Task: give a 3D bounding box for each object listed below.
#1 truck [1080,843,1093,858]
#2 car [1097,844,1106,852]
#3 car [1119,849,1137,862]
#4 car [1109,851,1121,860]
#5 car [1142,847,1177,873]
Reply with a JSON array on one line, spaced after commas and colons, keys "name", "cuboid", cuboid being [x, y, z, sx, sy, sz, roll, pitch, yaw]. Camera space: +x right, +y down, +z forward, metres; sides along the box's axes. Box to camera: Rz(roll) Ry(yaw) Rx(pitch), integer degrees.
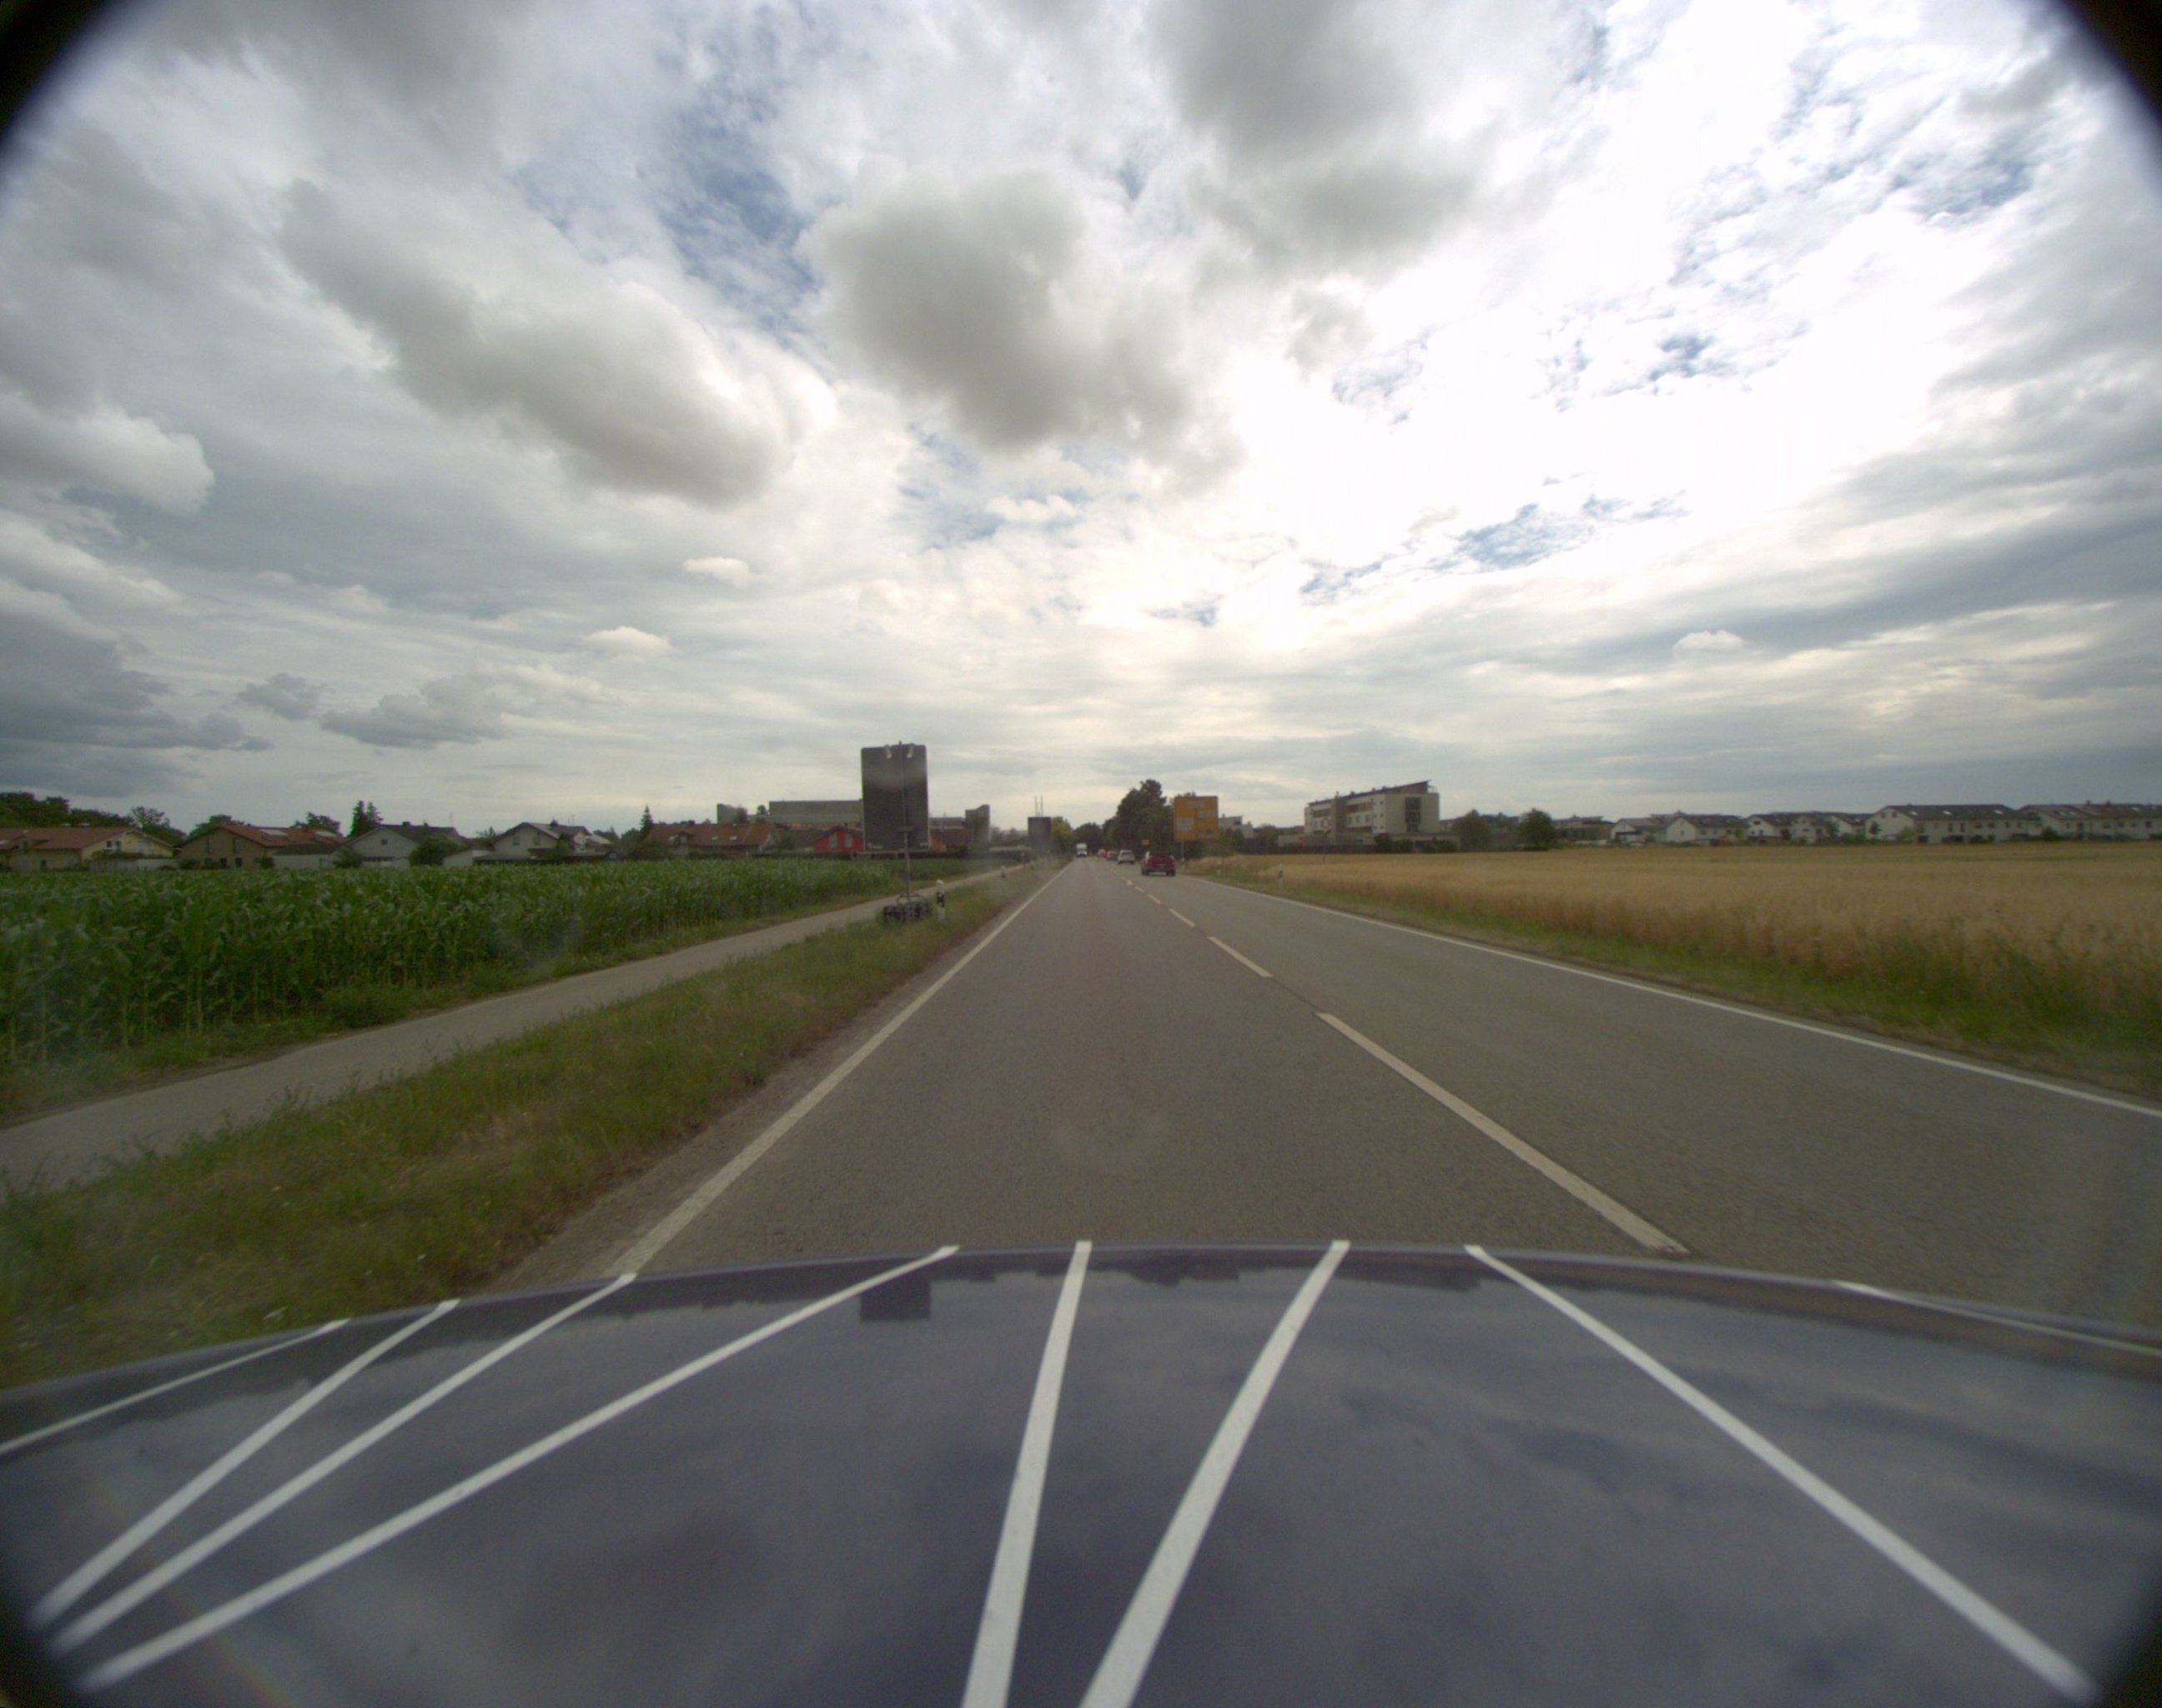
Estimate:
[{"name": "truck", "cuboid": [1.355, -0.922, 181.445, 2.613, 3.427, 7.508, -2, 0, 4]}, {"name": "car", "cuboid": [4.481, -1.263, 166.722, 1.998, 1.674, 4.809, 1, 0, 0]}, {"name": "car", "cuboid": [5.119, 0.144, 83.282, 1.810, 1.448, 4.113, 0, 0, 1]}, {"name": "car", "cuboid": [5.246, 0.170, 118.244, 1.733, 1.355, 3.949, 0, 0, 1]}, {"name": "car", "cuboid": [4.736, 0.341, 46.270, 1.716, 1.480, 4.608, 0, 0, 1]}]
